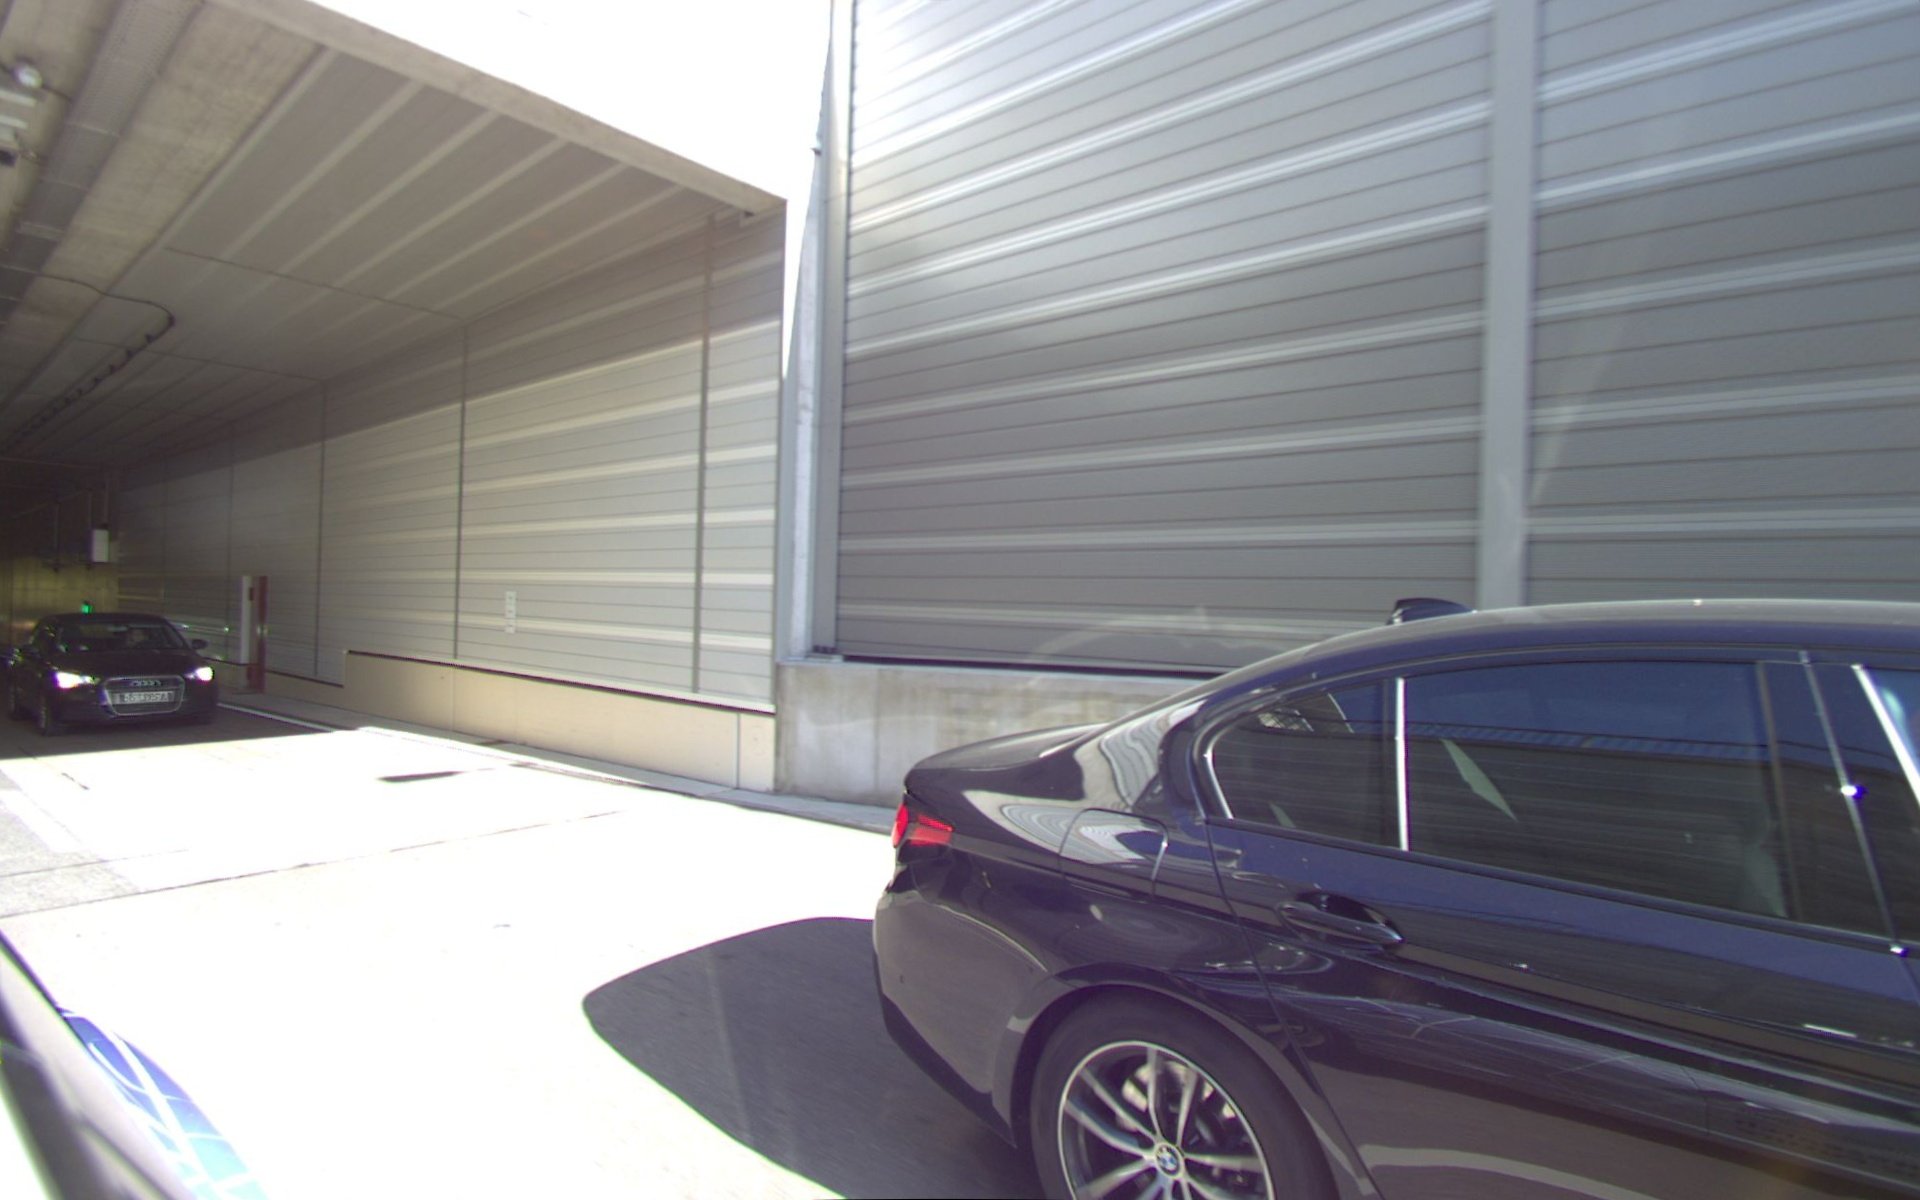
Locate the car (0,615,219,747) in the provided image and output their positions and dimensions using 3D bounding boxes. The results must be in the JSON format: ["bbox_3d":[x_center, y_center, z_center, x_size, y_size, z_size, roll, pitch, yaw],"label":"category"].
[{"bbox_3d":[-11.095,0.917,13.061,3.886,1.429,1.678,-1,-1,41],"label":"car"}]

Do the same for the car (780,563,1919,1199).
[{"bbox_3d":[1.980,0.684,1.723,5.000,1.450,1.790,0,0,41],"label":"car"}]
